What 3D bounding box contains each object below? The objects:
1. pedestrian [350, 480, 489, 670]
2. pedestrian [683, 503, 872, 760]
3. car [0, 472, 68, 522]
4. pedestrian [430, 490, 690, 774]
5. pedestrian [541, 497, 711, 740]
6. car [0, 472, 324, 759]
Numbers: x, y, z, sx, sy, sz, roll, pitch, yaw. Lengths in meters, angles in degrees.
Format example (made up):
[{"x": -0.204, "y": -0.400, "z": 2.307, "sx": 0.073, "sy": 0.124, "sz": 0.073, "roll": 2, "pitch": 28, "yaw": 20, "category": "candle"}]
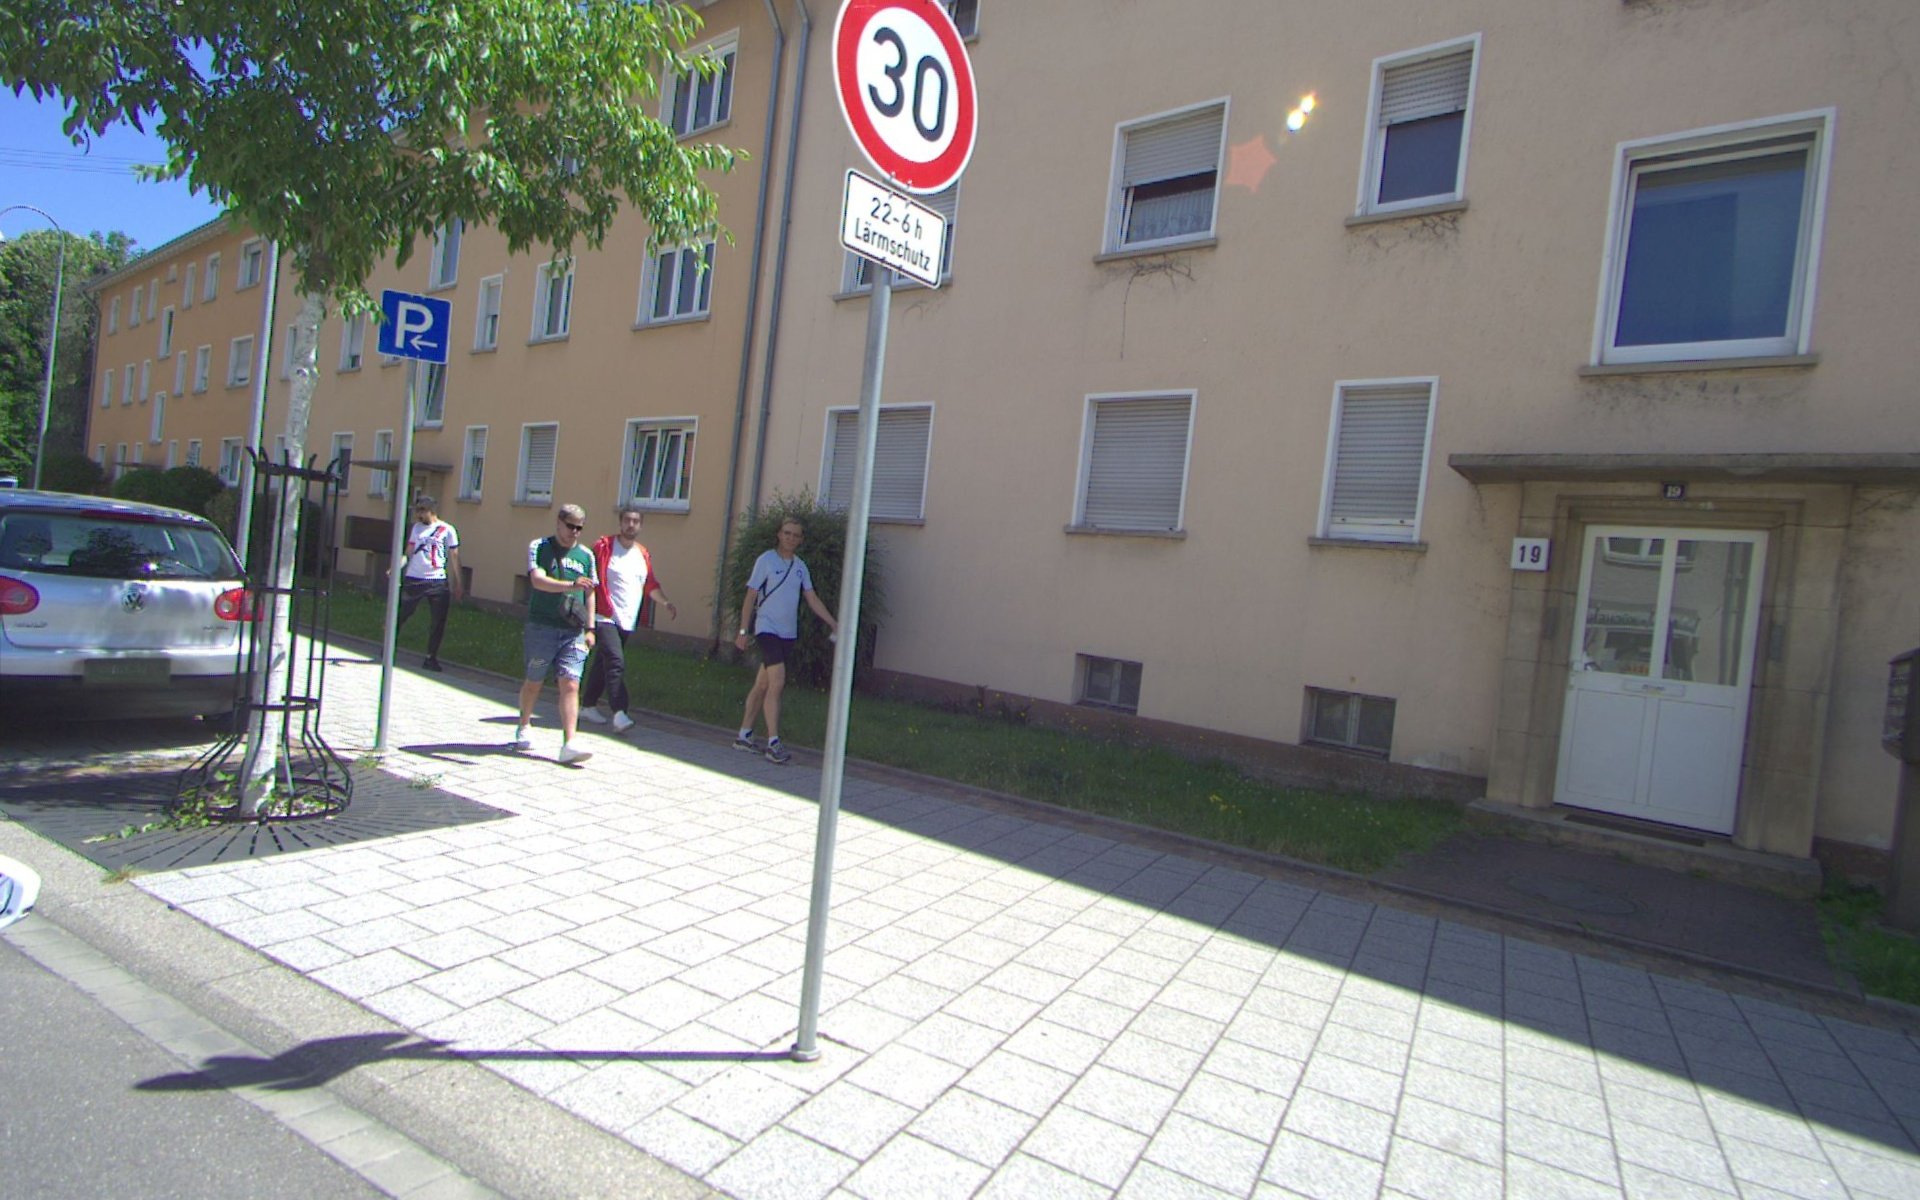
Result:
[{"x": -5.736, "y": -0.259, "z": 10.682, "sx": 0.969, "sy": 1.877, "sz": 0.820, "roll": 7, "pitch": 1, "yaw": 34, "category": "pedestrian"}, {"x": -1.407, "y": 0.225, "z": 7.766, "sx": 0.992, "sy": 1.801, "sz": 0.793, "roll": 7, "pitch": 2, "yaw": 34, "category": "pedestrian"}, {"x": -43.641, "y": -4.849, "z": 45.617, "sx": 1.720, "sy": 1.860, "sz": 4.346, "roll": 7, "pitch": -2, "yaw": 30, "category": "car"}, {"x": -2.807, "y": 0.182, "z": 7.093, "sx": 1.172, "sy": 1.757, "sz": 1.170, "roll": 6, "pitch": 3, "yaw": 33, "category": "pedestrian"}, {"x": -2.763, "y": 0.129, "z": 8.326, "sx": 0.990, "sy": 1.836, "sz": 0.787, "roll": 7, "pitch": 4, "yaw": 34, "category": "pedestrian"}, {"x": -6.476, "y": -0.074, "z": 6.996, "sx": 4.435, "sy": 1.496, "sz": 1.813, "roll": 6, "pitch": 1, "yaw": 34, "category": "car"}]
